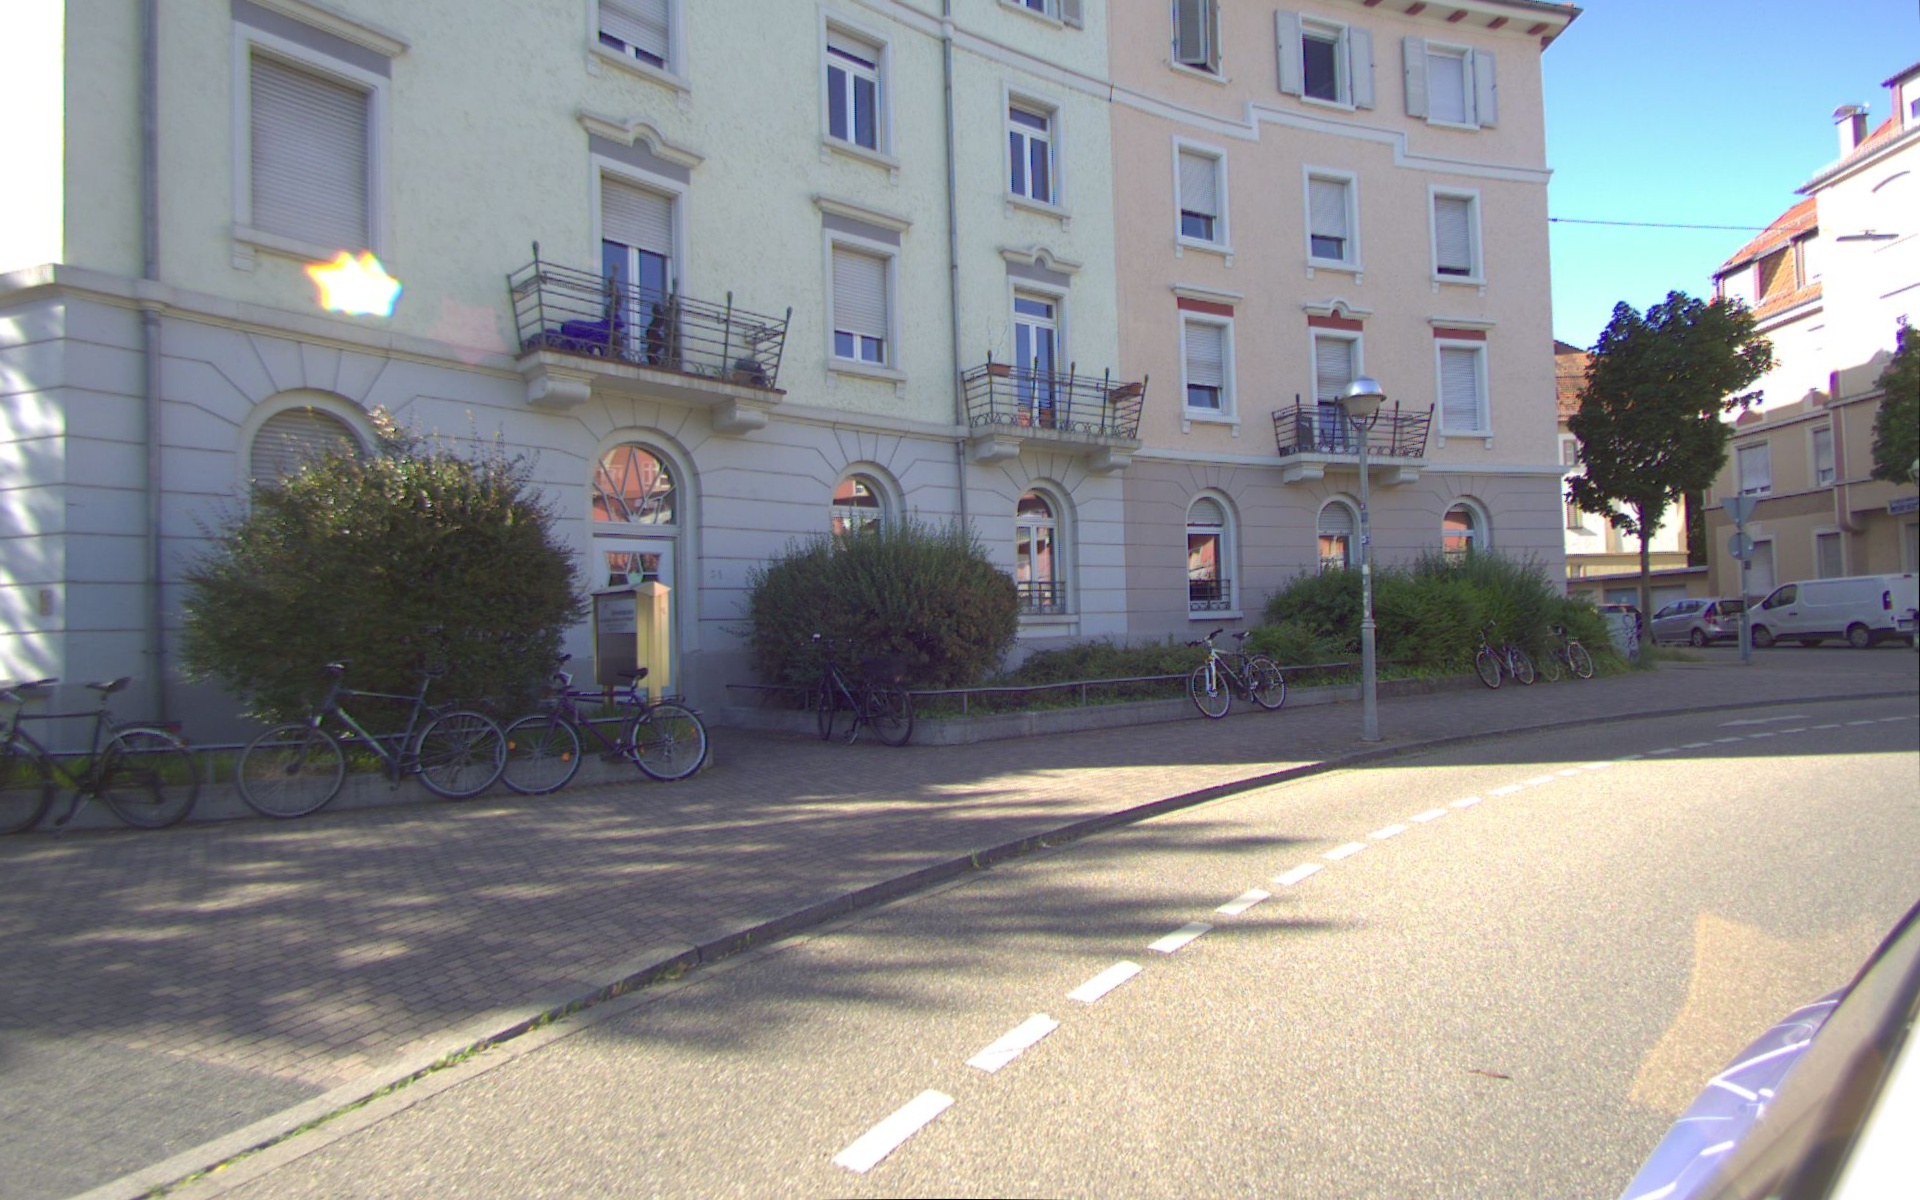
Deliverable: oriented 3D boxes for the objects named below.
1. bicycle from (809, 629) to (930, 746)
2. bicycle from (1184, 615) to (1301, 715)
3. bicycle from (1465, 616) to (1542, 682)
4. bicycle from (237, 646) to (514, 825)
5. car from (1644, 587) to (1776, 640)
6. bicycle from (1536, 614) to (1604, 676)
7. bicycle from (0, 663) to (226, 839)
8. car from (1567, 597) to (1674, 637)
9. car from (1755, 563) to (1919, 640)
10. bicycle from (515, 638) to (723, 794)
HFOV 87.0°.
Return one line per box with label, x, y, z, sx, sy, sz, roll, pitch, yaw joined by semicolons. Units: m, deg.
bicycle;-1.002;0.920;10.947;0.428;1.169;1.507;0;-2;-44
bicycle;3.621;0.803;12.926;1.637;1.169;0.436;-1;0;-32
bicycle;8.867;0.788;16.488;1.363;1.008;0.378;-1;-2;-28
bicycle;-4.321;0.963;7.599;1.743;1.163;0.445;-1;-2;-26
car;24.712;0.471;33.520;1.657;1.597;3.543;-2;-1;1
bicycle;10.555;0.770;17.492;1.364;1.008;0.378;-1;-2;-31
bicycle;-6.076;1.045;7.090;1.541;1.118;0.352;-3;-2;-4
car;24.643;0.655;37.910;1.657;1.392;3.543;-2;-1;1
car;25.044;0.079;28.256;1.860;1.966;4.451;-2;-1;-4
bicycle;-2.854;0.934;8.549;1.606;1.163;0.366;-1;-2;-34
